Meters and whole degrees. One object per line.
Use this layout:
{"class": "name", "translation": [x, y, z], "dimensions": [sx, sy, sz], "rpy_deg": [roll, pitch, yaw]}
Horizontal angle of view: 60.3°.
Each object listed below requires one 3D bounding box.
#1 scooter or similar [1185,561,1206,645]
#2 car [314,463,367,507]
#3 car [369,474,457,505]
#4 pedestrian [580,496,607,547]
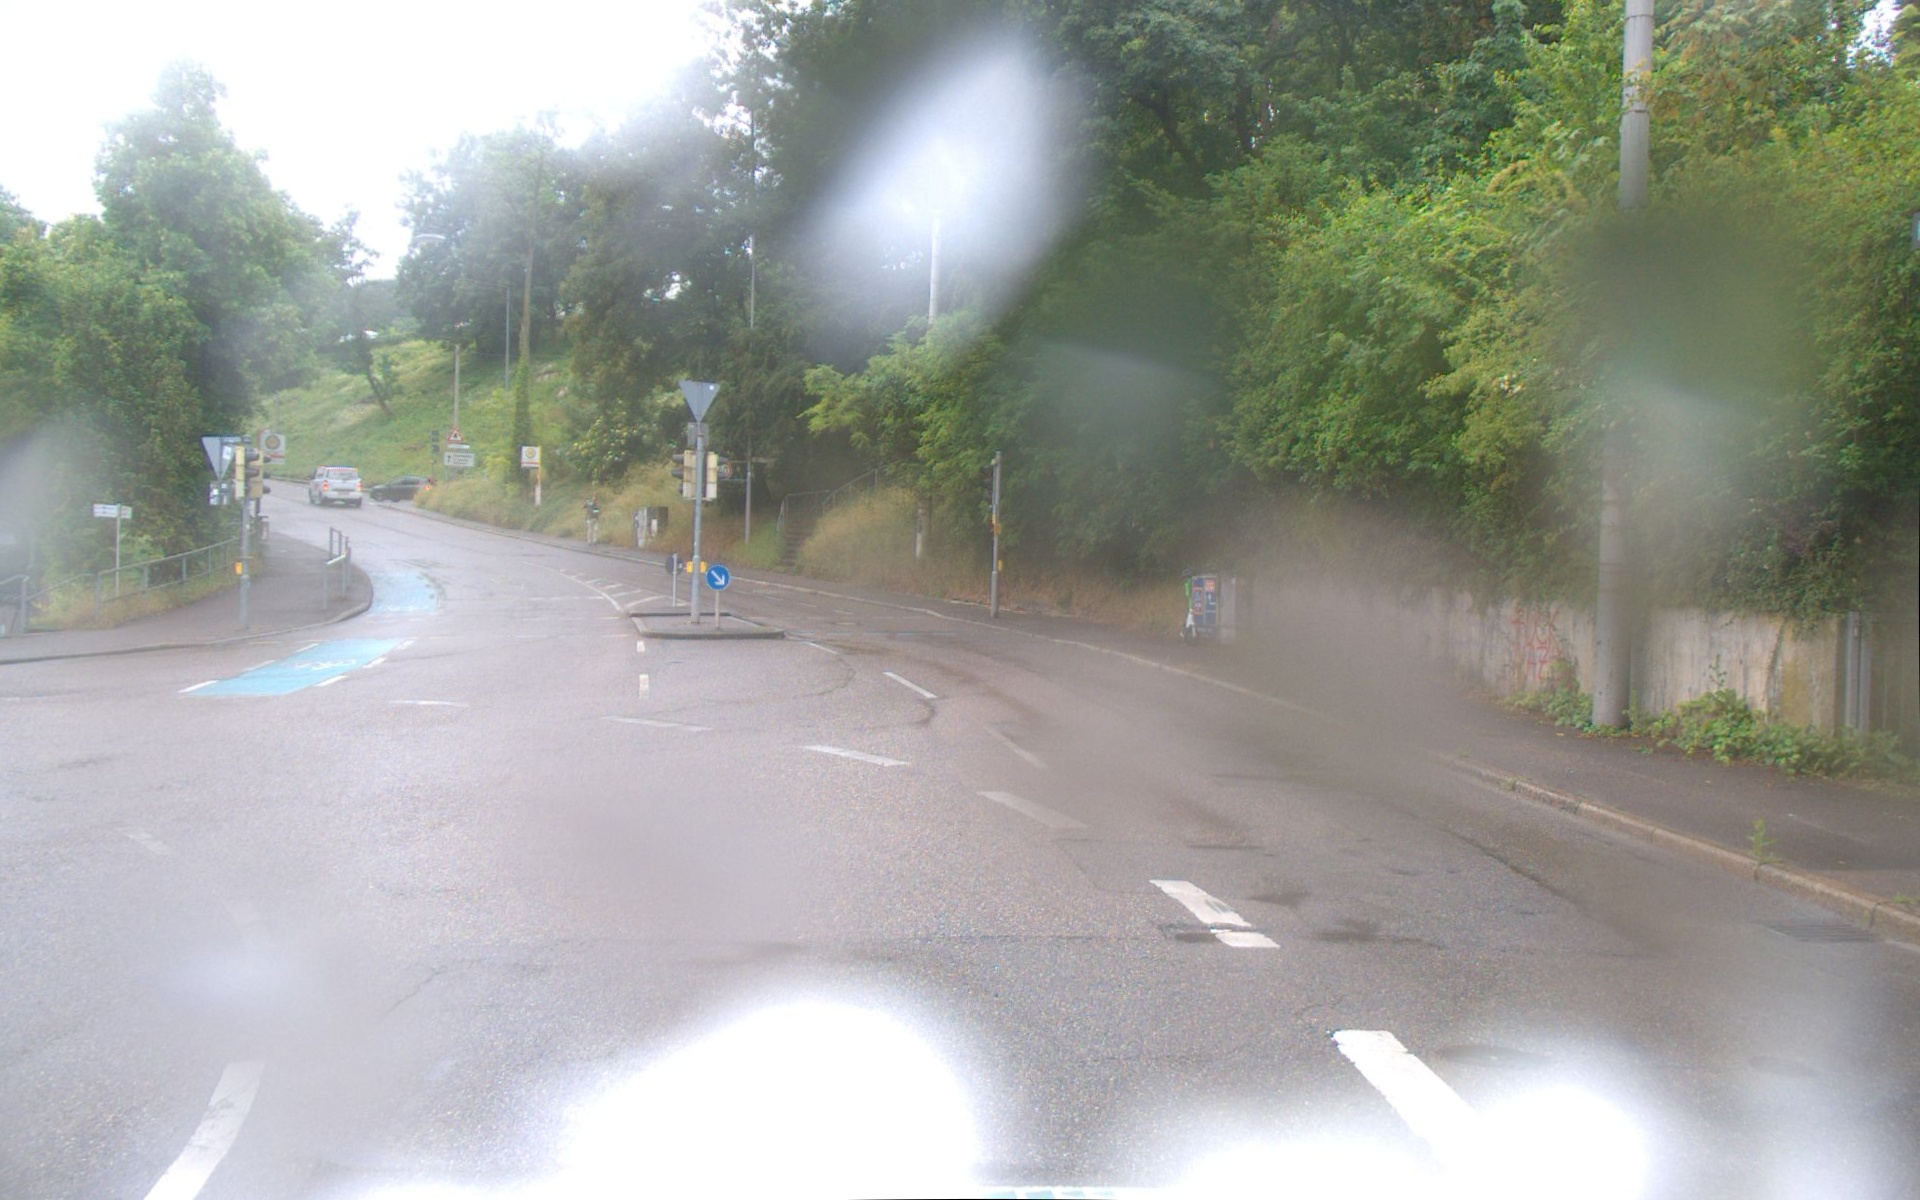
{"class": "scooter or similar", "translation": [3.773, 0.037, 26.547], "dimensions": [0.315, 1.302, 0.752], "rpy_deg": [0, 3, 7]}
{"class": "car", "translation": [-31.880, -5.889, 85.051], "dimensions": [2.042, 2.041, 4.772], "rpy_deg": [0, 1, -27]}
{"class": "car", "translation": [-30.688, -6.220, 92.829], "dimensions": [4.297, 1.538, 1.965], "rpy_deg": [3, 3, 13]}
{"class": "pedestrian", "translation": [-13.192, -2.816, 59.581], "dimensions": [0.867, 1.767, 0.861], "rpy_deg": [1, -1, -18]}
